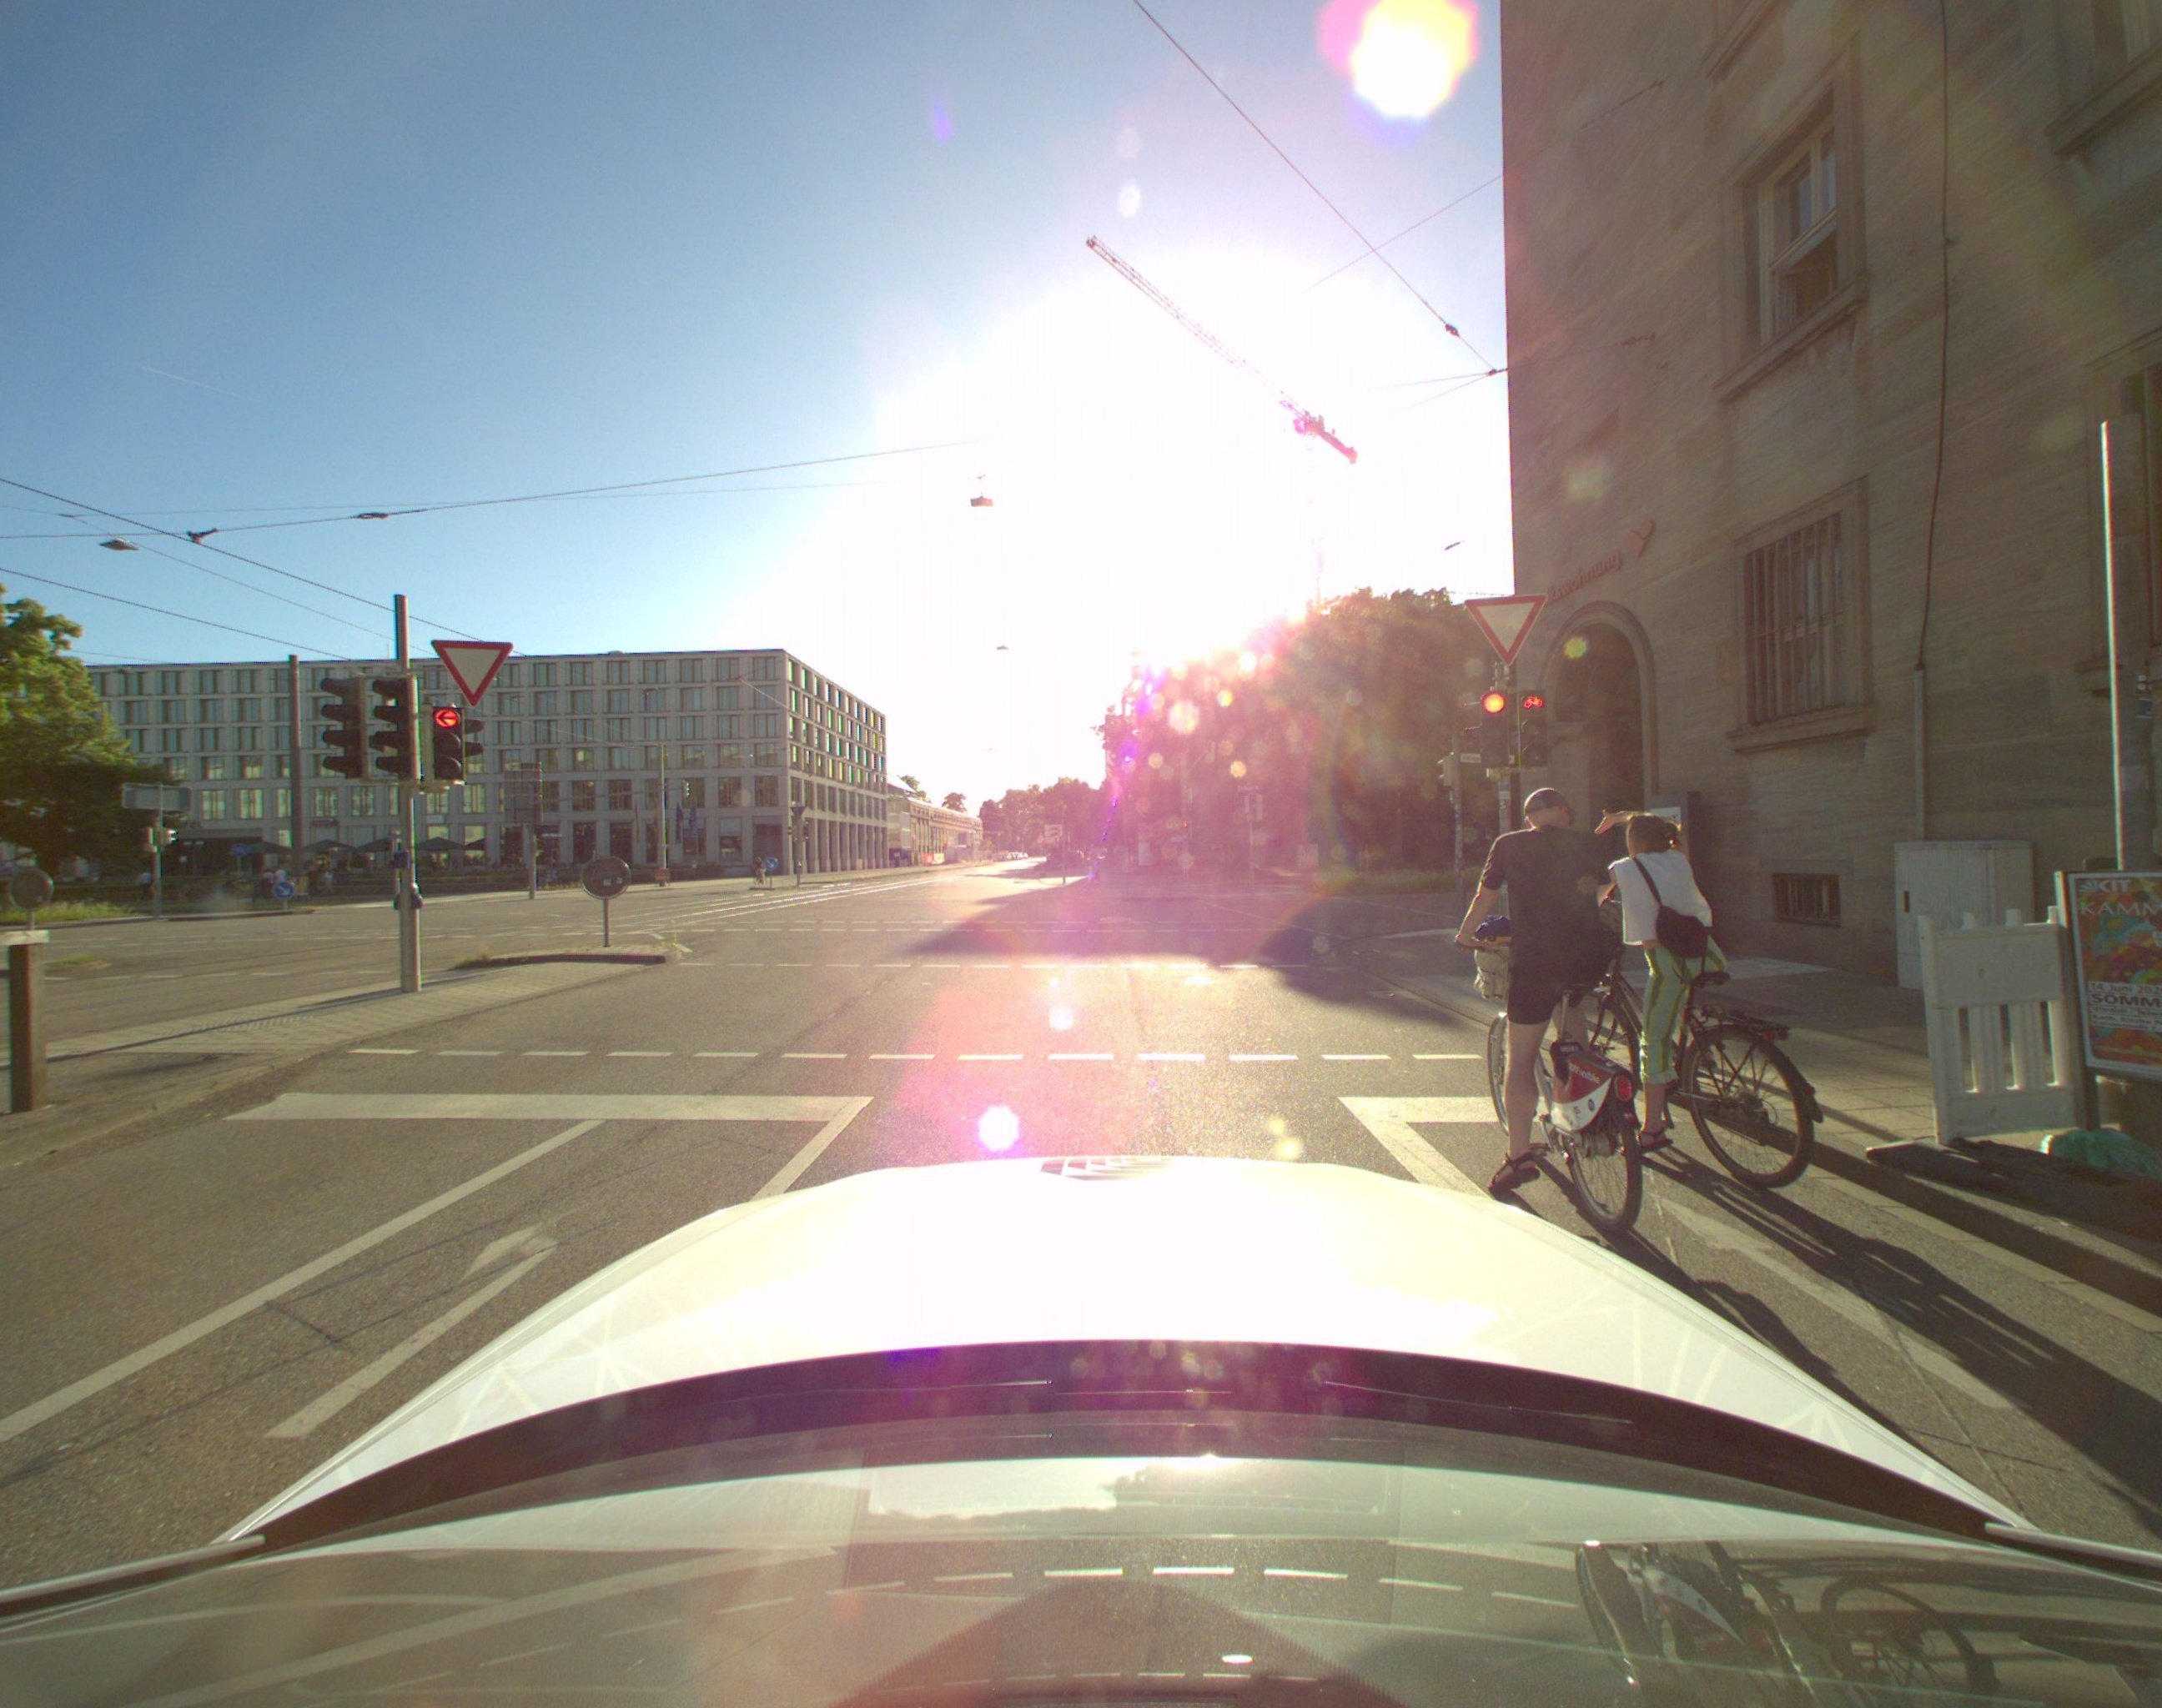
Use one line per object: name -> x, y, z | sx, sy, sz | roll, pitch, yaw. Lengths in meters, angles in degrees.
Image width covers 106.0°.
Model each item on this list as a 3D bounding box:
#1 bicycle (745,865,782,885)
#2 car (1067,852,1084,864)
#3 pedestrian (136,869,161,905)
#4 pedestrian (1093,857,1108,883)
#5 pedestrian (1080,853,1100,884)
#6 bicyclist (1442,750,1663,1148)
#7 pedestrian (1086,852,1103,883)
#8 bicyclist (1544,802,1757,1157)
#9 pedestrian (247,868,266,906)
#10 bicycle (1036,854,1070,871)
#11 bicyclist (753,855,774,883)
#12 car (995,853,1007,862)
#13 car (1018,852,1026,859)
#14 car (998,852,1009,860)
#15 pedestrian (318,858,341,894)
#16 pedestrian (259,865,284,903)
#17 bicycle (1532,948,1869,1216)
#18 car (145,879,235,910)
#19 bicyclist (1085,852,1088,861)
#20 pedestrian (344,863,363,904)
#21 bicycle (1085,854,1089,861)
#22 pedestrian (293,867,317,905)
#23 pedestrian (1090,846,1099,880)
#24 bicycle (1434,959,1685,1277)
bicycle -> -19.420, 1.279, 49.915 | 0.872, 1.121, 3.015 | -2, 0, 3
car -> -0.563, 0.412, 90.172 | 1.814, 1.279, 3.999 | -2, 0, 0
pedestrian -> -50.858, 1.802, 44.406 | 0.557, 1.903, 0.684 | -2, 0, 10
pedestrian -> 1.048, 0.857, 43.063 | 0.749, 1.332, 0.743 | -2, 0, 3
pedestrian -> 0.498, 0.770, 43.469 | 0.980, 1.587, 0.661 | -2, -1, 3
bicyclist -> 2.154, 0.407, 3.812 | 0.666, 1.678, 0.658 | -2, 0, 10
pedestrian -> 0.722, 0.712, 43.770 | 0.792, 1.639, 0.534 | -2, 0, 4
bicyclist -> 2.957, 0.601, 4.311 | 0.519, 1.679, 0.860 | -2, 0, 5
pedestrian -> -44.158, 1.761, 43.628 | 0.490, 2.013, 0.493 | -2, 0, 14
bicycle -> -2.326, 0.726, 67.370 | 2.728, 1.367, 0.633 | -1, -1, 12
bicyclist -> -19.414, 0.926, 49.852 | 0.872, 1.641, 0.822 | -2, 0, 3
car -> -15.375, 0.719, 156.717 | 1.724, 1.653, 4.002 | -2, 0, 2
car -> -14.055, 0.330, 194.877 | 1.478, 1.750, 4.002 | -2, 0, 2
car -> -15.307, 0.374, 160.810 | 1.724, 1.653, 4.002 | -2, 0, 2
pedestrian -> -42.255, 1.230, 45.821 | 0.528, 2.013, 0.800 | -2, 0, -5
pedestrian -> -44.117, 1.617, 44.405 | 0.528, 2.013, 0.800 | -2, 0, -5
bicycle -> 3.090, 1.056, 4.335 | 0.424, 0.876, 1.953 | -2, 0, 5
car -> -46.907, 2.123, 42.901 | 3.171, 1.438, 1.473 | -2, 0, 3
bicyclist -> 0.694, 0.310, 98.586 | 0.317, 1.127, 0.291 | -2, 0, 1
pedestrian -> -41.560, 1.678, 46.520 | 0.568, 2.280, 0.532 | -2, 0, -5
bicycle -> 0.727, 0.406, 98.673 | 0.323, 0.868, 1.484 | -2, 0, 2
pedestrian -> -42.681, 1.765, 44.810 | 0.648, 2.069, 0.649 | -2, -4, -5
pedestrian -> 0.736, 0.489, 44.812 | 0.358, 1.804, 0.508 | -2, 0, 14
bicycle -> 2.181, 1.095, 3.972 | 0.387, 0.905, 1.956 | -2, 0, 10
